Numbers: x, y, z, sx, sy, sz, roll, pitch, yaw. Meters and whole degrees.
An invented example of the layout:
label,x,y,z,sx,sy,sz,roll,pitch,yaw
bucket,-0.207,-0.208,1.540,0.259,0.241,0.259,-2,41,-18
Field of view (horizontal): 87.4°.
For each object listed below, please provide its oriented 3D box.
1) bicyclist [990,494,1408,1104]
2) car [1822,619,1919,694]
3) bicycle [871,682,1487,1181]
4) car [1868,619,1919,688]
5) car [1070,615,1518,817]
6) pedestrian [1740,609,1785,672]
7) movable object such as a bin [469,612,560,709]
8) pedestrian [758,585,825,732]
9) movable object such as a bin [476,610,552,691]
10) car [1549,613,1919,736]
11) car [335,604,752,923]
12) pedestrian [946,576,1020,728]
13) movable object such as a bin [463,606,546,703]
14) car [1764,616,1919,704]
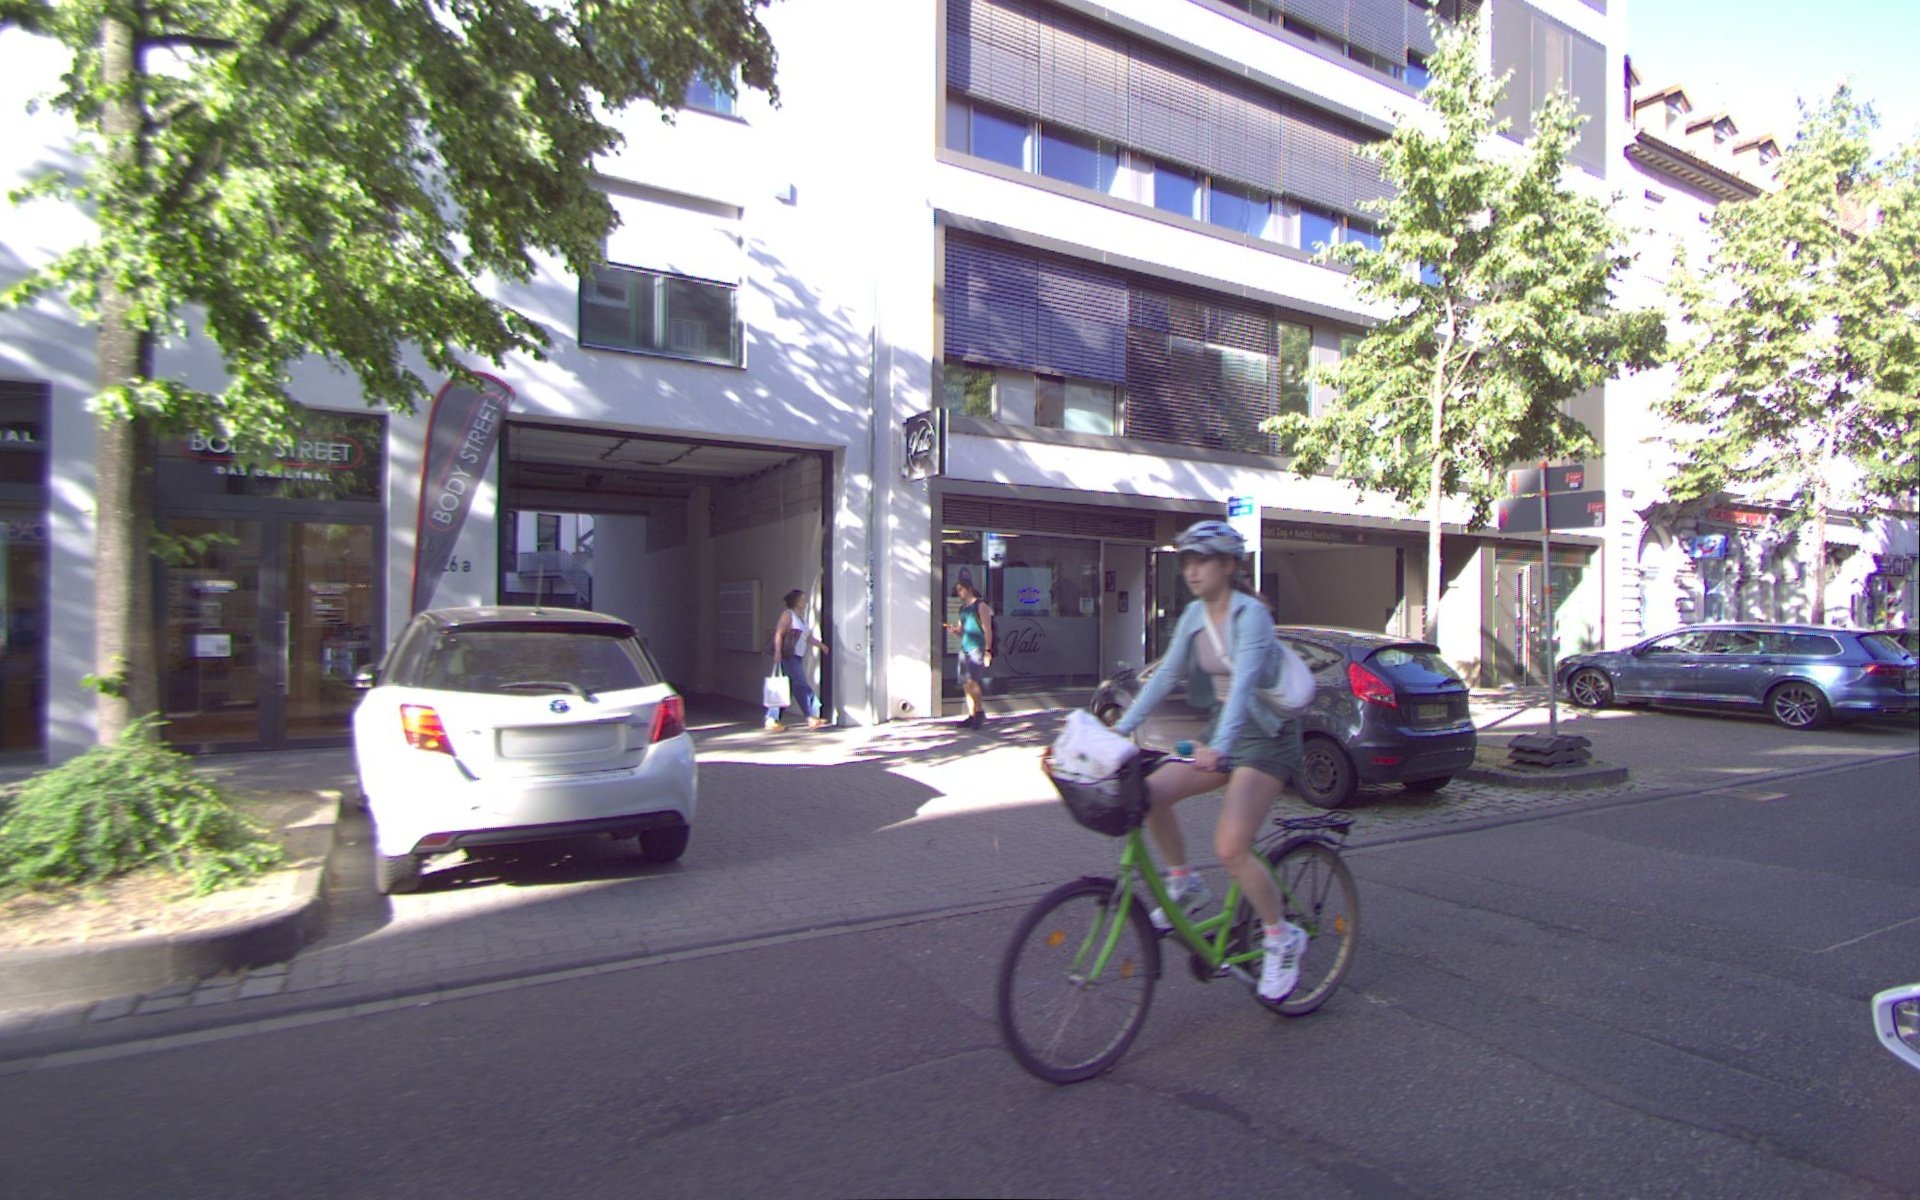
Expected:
label,x,y,z,sx,sy,sz,roll,pitch,yaw
bicyclist,0.828,0.571,3.476,1.267,1.723,0.722,1,0,-30
car,19.871,1.150,19.941,1.767,1.448,3.825,1,0,-28
bicycle,0.830,0.931,3.473,2.171,1.184,0.722,1,-1,-30
car,21.967,1.177,21.272,1.719,1.488,3.730,1,0,-30
car,2.984,0.904,9.621,1.764,1.478,3.753,1,0,-37
pedestrian,18.699,0.934,23.397,0.814,1.427,0.506,0,1,-26
movable object such as a bin,-6.686,0.861,15.024,1.092,1.325,1.542,0,1,-30
pedestrian,-2.056,0.702,12.330,0.731,1.758,0.647,0,0,-3
movable object such as a bin,-8.000,0.868,17.989,1.092,1.325,1.542,0,1,-30
car,11.892,1.013,15.561,1.770,1.478,4.469,1,1,-31
car,-3.163,0.783,7.014,1.959,1.478,4.220,1,0,-33
pedestrian,0.277,0.632,12.552,0.733,1.821,0.699,0,0,-18
movable object such as a bin,-7.429,0.847,16.343,1.092,1.460,1.542,0,1,-30
car,17.557,1.087,18.531,1.749,1.505,3.903,1,0,-28
